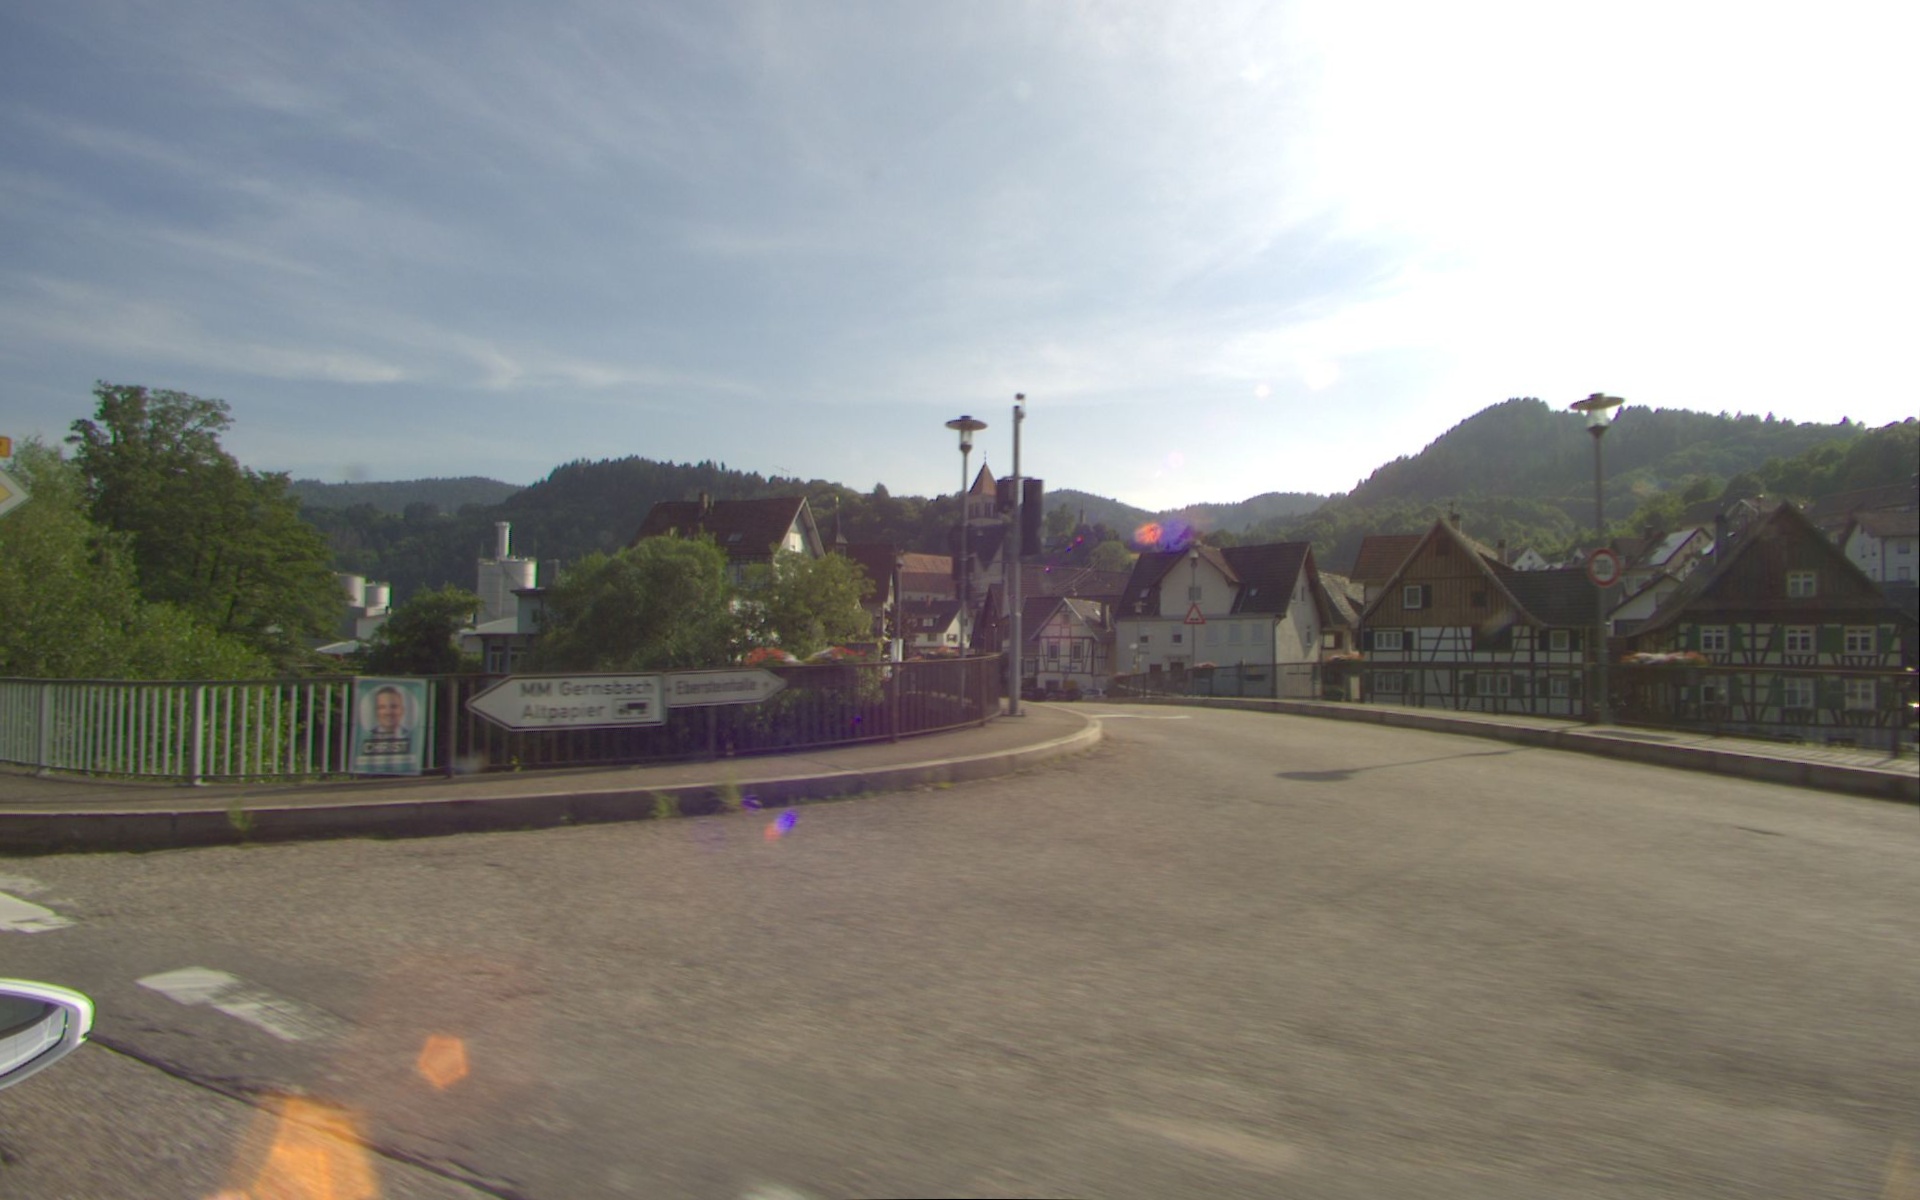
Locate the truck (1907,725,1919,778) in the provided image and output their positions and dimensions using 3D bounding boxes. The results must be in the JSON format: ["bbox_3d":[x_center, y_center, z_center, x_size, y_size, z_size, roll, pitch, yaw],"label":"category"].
[{"bbox_3d":[40.937,6.141,39.624,4.655,2.039,1.992,-1,-2,30],"label":"truck"}]
